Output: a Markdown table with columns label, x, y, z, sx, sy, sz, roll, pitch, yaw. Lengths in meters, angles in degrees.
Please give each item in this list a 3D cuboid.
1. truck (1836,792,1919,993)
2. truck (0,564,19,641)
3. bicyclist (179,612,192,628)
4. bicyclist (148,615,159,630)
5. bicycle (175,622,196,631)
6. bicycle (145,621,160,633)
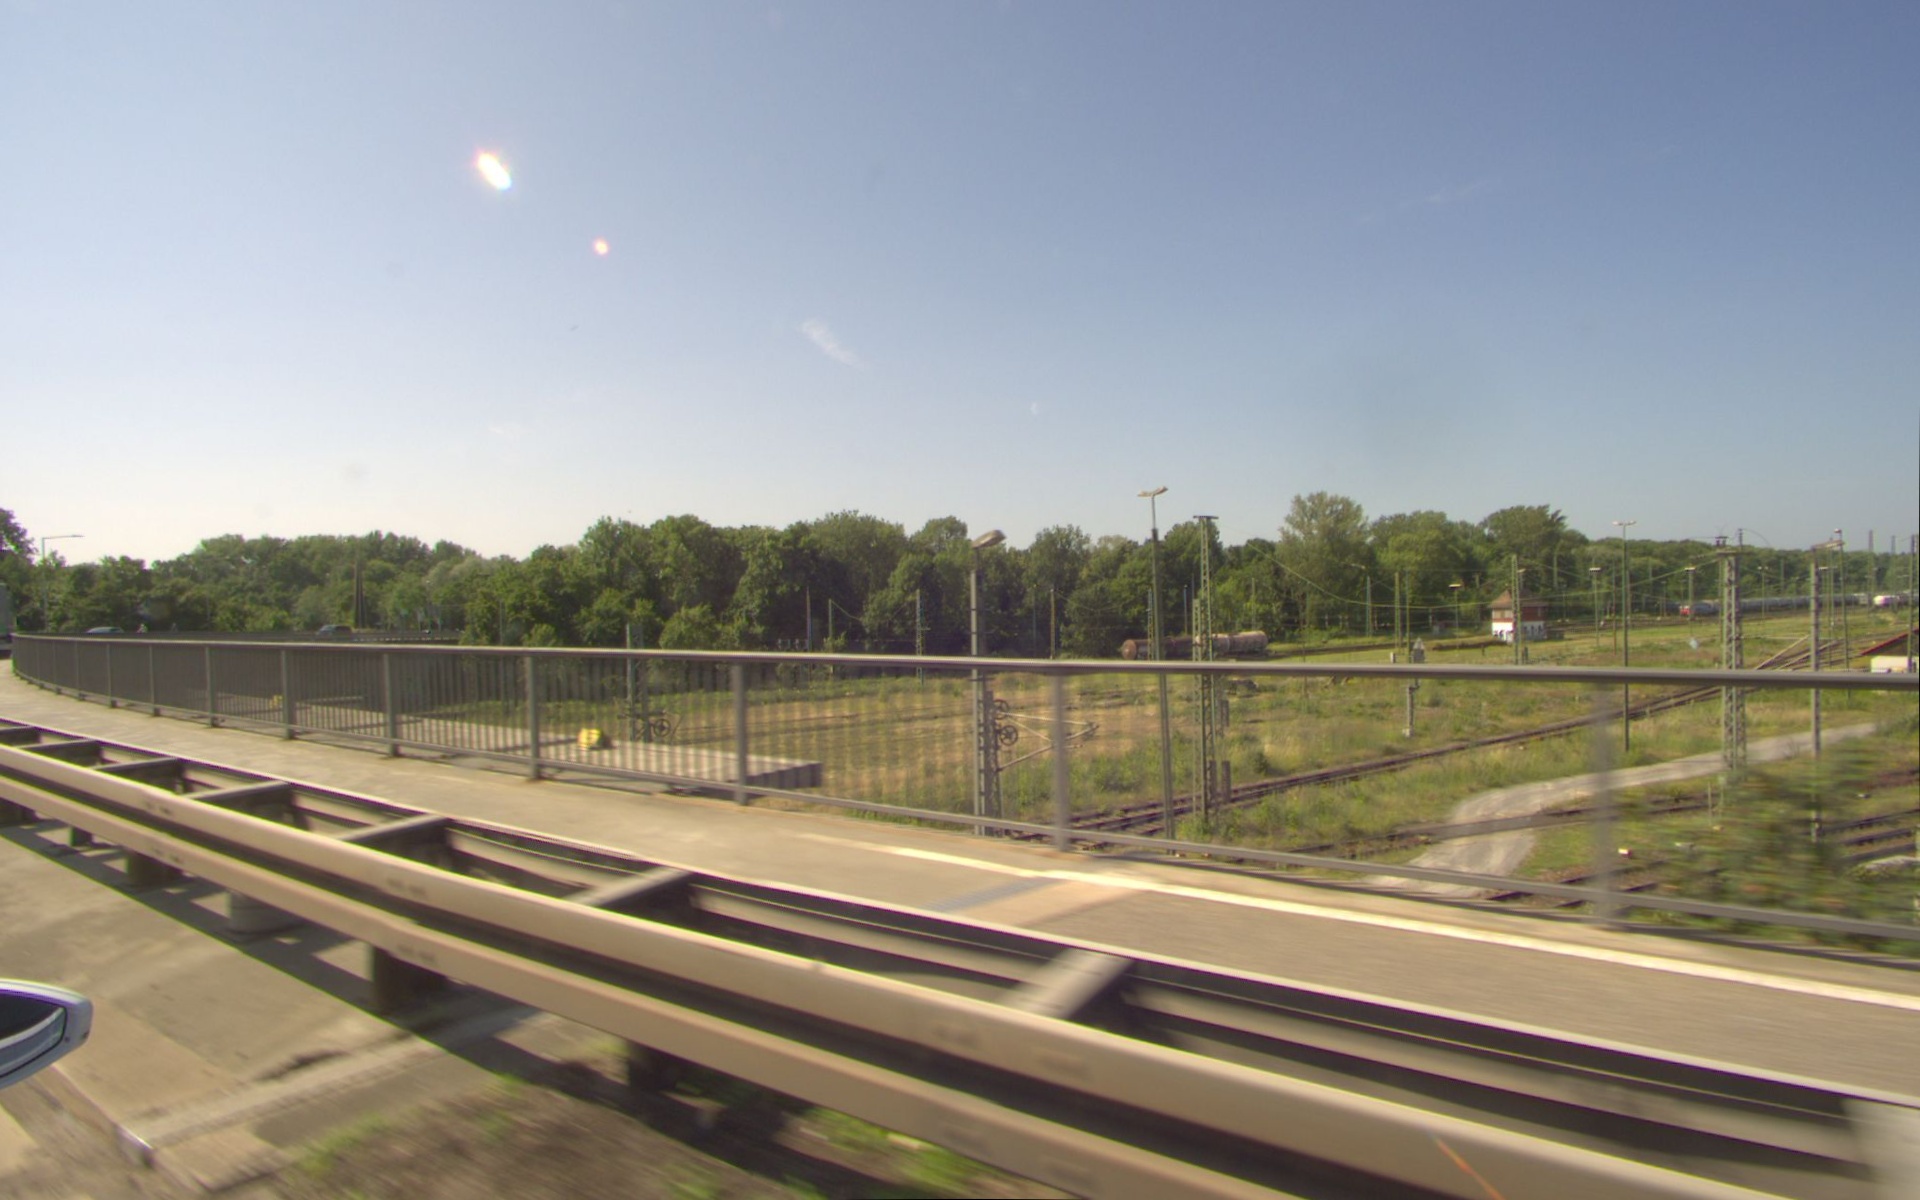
| label | x | y | z | sx | sy | sz | roll | pitch | yaw |
| --- | --- | --- | --- | --- | --- | --- | --- | --- | --- |
| truck | 28.122 | 6.801 | 23.871 | 13.025 | 4.084 | 3.817 | -1 | 2 | -12 |
| truck | -48.775 | 0.057 | 48.517 | 3.230 | 3.806 | 8.313 | 3 | -2 | -35 |
| bicyclist | -74.590 | 1.932 | 96.414 | 0.651 | 1.516 | 1.014 | 1 | 1 | -18 |
| bicyclist | -74.207 | 2.065 | 92.124 | 0.481 | 1.345 | 0.944 | 1 | -2 | -21 |
| bicycle | -74.630 | 2.549 | 96.491 | 0.915 | 0.902 | 1.964 | 1 | -1 | -17 |
| bicycle | -74.189 | 2.452 | 92.026 | 0.566 | 1.060 | 1.705 | -2 | 0 | -21 |
